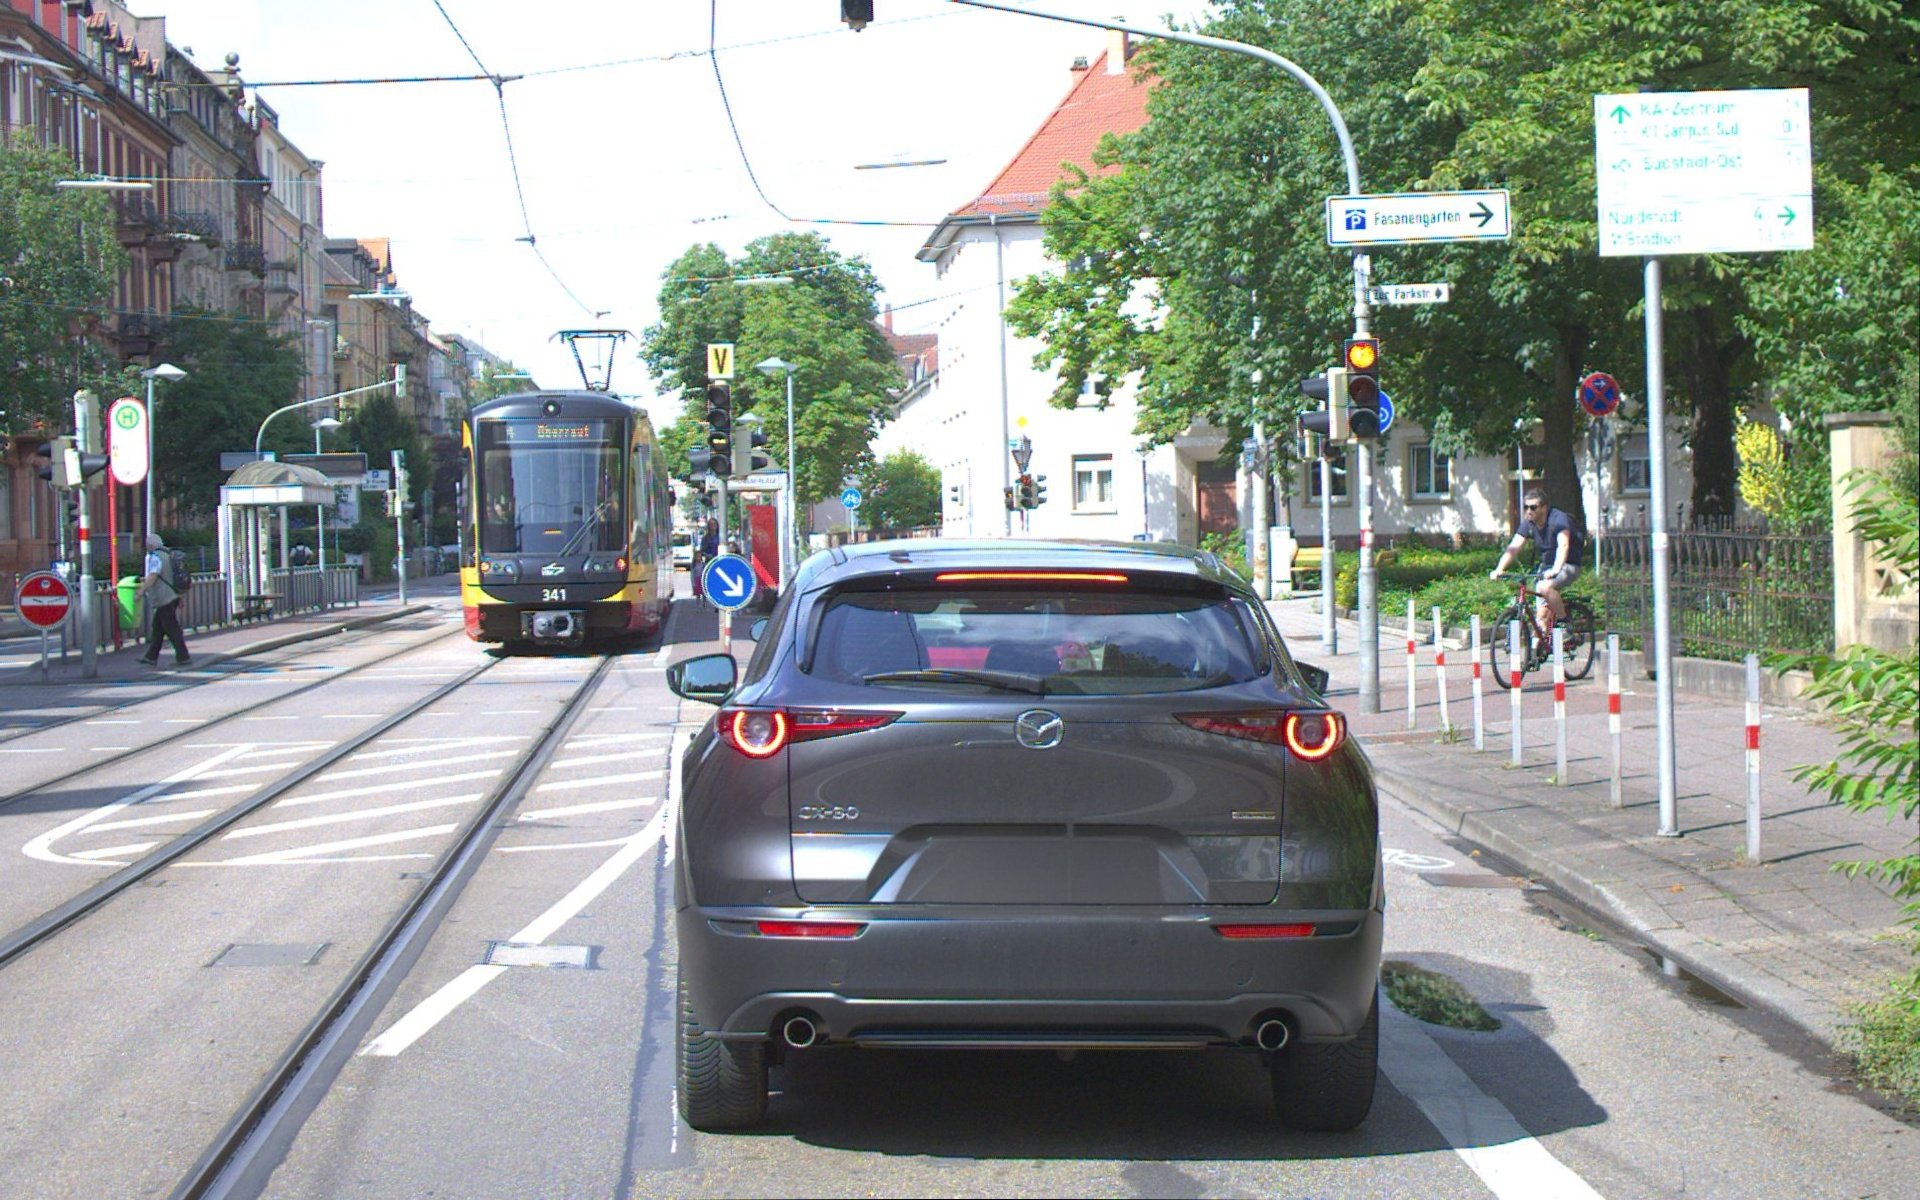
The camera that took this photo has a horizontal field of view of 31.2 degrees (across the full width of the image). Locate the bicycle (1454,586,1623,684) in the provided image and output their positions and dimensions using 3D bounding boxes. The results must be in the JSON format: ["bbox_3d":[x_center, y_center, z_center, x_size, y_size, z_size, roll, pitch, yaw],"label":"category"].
[{"bbox_3d":[5.235,0.307,31.066,1.694,0.821,0.494,-2,1,-39],"label":"bicycle"}]

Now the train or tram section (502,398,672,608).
[{"bbox_3d":[-6.882,-1.898,65.105,2.752,3.478,14.411,-1,2,-5],"label":"train or tram section"}]

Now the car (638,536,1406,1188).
[{"bbox_3d":[0.109,0.579,10.049,1.778,1.494,4.000,1,1,-1],"label":"car"}]

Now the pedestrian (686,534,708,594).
[{"bbox_3d":[-4.798,-0.659,62.659,0.379,1.067,0.474,-1,1,-4],"label":"pedestrian"}]

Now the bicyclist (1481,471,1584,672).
[{"bbox_3d":[5.167,-0.263,31.027,0.608,1.786,0.658,-2,1,-38],"label":"bicyclist"}]

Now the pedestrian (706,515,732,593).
[{"bbox_3d":[-4.432,-0.844,63.199,0.450,1.429,0.474,-1,1,-5],"label":"pedestrian"}]

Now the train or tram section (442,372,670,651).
[{"bbox_3d":[-5.721,-1.382,50.778,2.752,3.478,14.411,-1,2,-5],"label":"train or tram section"}]

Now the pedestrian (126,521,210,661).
[{"bbox_3d":[-9.801,-0.116,42.564,0.717,1.699,0.824,-1,1,9],"label":"pedestrian"}]

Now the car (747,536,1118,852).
[{"bbox_3d":[-0.170,0.419,18.655,1.778,1.494,4.000,1,1,-1],"label":"car"}]

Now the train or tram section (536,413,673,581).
[{"bbox_3d":[-8.065,-2.429,79.464,2.752,3.478,14.411,-1,2,-5],"label":"train or tram section"}]

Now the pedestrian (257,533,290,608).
[{"bbox_3d":[-12.881,-0.552,64.509,0.429,1.394,0.398,0,1,30],"label":"pedestrian"}]
